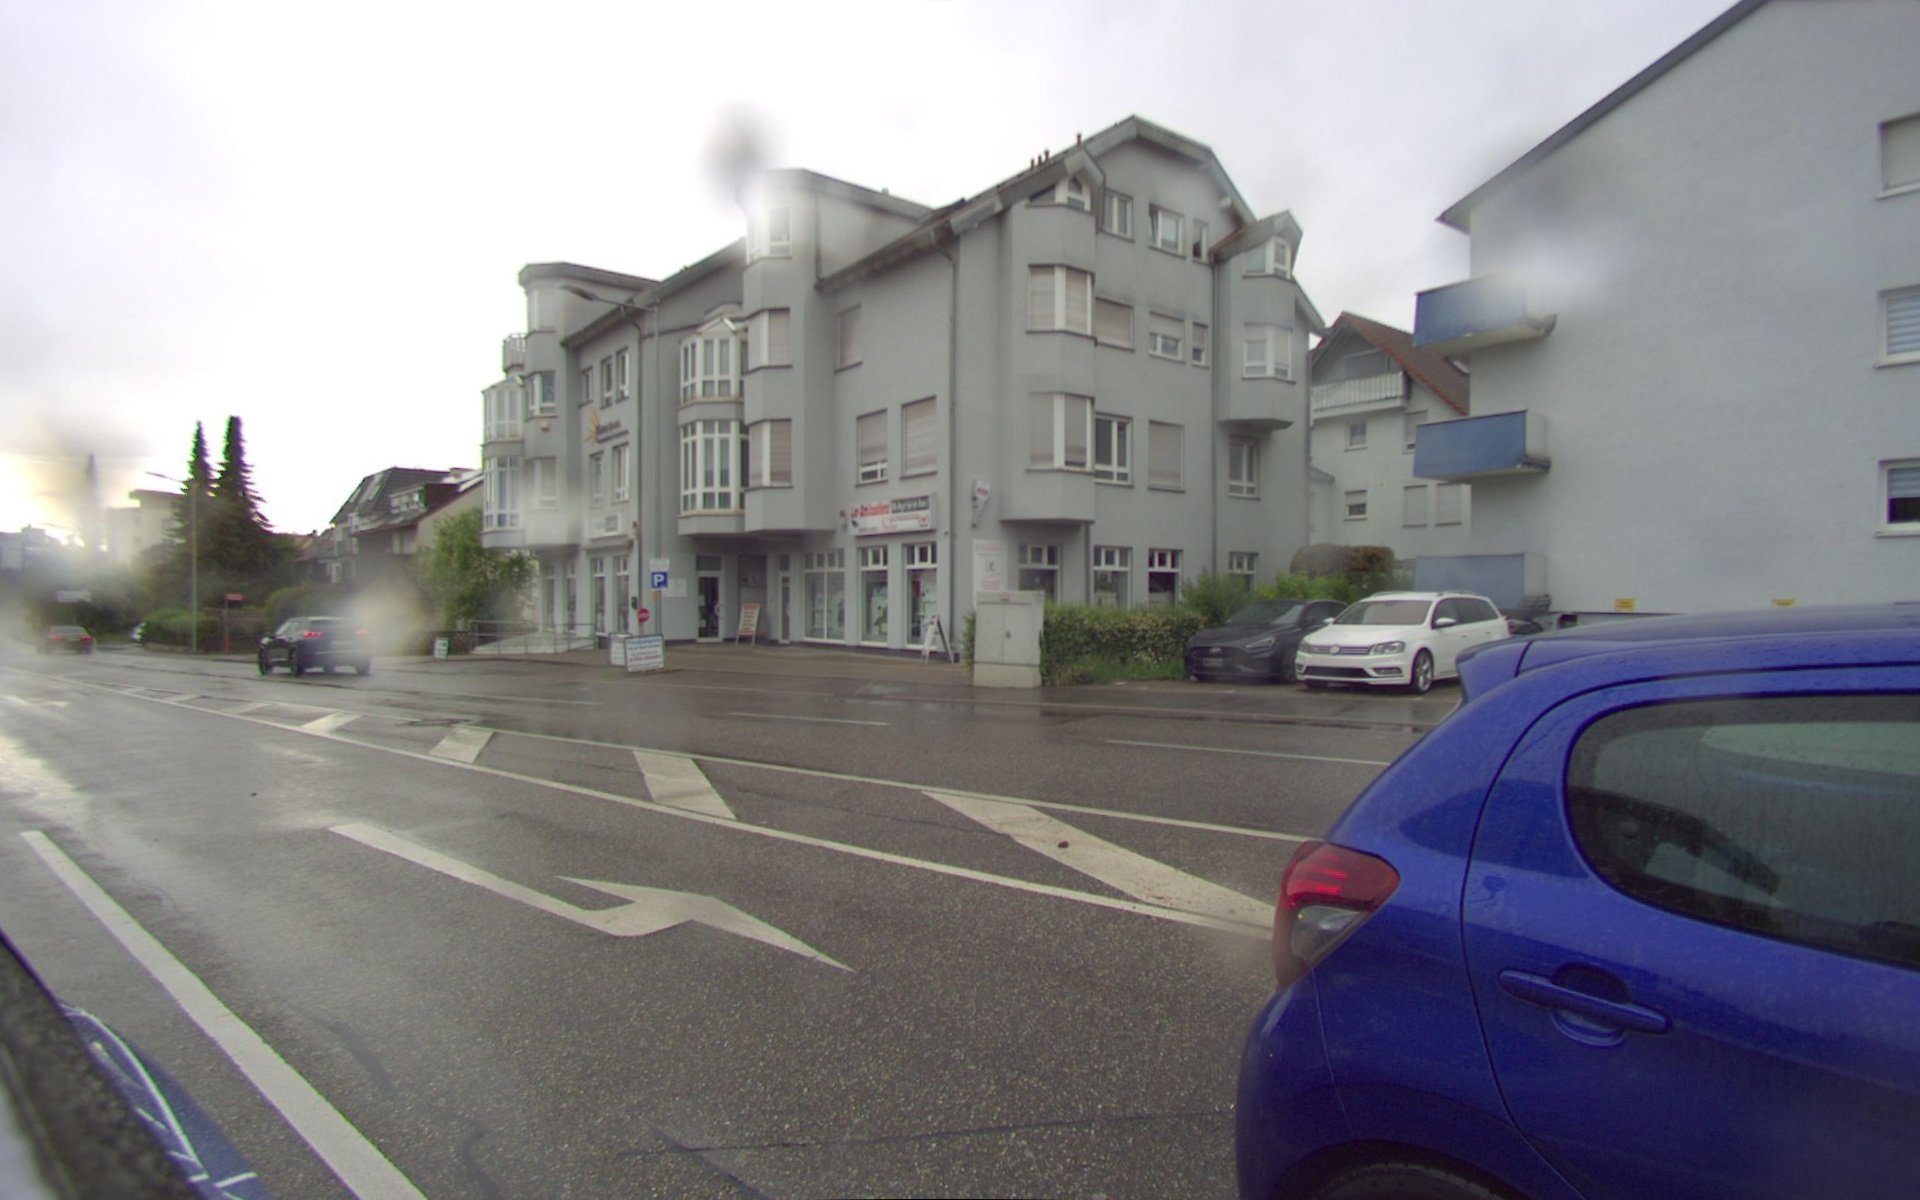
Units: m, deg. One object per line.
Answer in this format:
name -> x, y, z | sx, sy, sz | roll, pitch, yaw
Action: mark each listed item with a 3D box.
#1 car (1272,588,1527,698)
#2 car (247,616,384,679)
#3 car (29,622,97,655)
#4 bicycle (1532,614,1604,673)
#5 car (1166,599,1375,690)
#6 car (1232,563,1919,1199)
car -> 6.977, 0.605, 15.807 | 4.685, 1.471, 1.883 | 0, -2, -42
car -> -17.479, 1.226, 27.381 | 3.995, 1.523, 1.948 | -1, 0, 39
car -> -47.817, 2.047, 53.940 | 4.534, 1.637, 1.974 | -2, 0, 39
bicycle -> 11.139, 0.793, 18.563 | 1.065, 1.061, 0.343 | -2, -1, 41
car -> 5.489, 0.691, 17.652 | 1.851, 1.366, 3.941 | -1, 0, 45
car -> 2.231, 0.639, 1.199 | 3.362, 1.423, 1.489 | -2, -1, 41
